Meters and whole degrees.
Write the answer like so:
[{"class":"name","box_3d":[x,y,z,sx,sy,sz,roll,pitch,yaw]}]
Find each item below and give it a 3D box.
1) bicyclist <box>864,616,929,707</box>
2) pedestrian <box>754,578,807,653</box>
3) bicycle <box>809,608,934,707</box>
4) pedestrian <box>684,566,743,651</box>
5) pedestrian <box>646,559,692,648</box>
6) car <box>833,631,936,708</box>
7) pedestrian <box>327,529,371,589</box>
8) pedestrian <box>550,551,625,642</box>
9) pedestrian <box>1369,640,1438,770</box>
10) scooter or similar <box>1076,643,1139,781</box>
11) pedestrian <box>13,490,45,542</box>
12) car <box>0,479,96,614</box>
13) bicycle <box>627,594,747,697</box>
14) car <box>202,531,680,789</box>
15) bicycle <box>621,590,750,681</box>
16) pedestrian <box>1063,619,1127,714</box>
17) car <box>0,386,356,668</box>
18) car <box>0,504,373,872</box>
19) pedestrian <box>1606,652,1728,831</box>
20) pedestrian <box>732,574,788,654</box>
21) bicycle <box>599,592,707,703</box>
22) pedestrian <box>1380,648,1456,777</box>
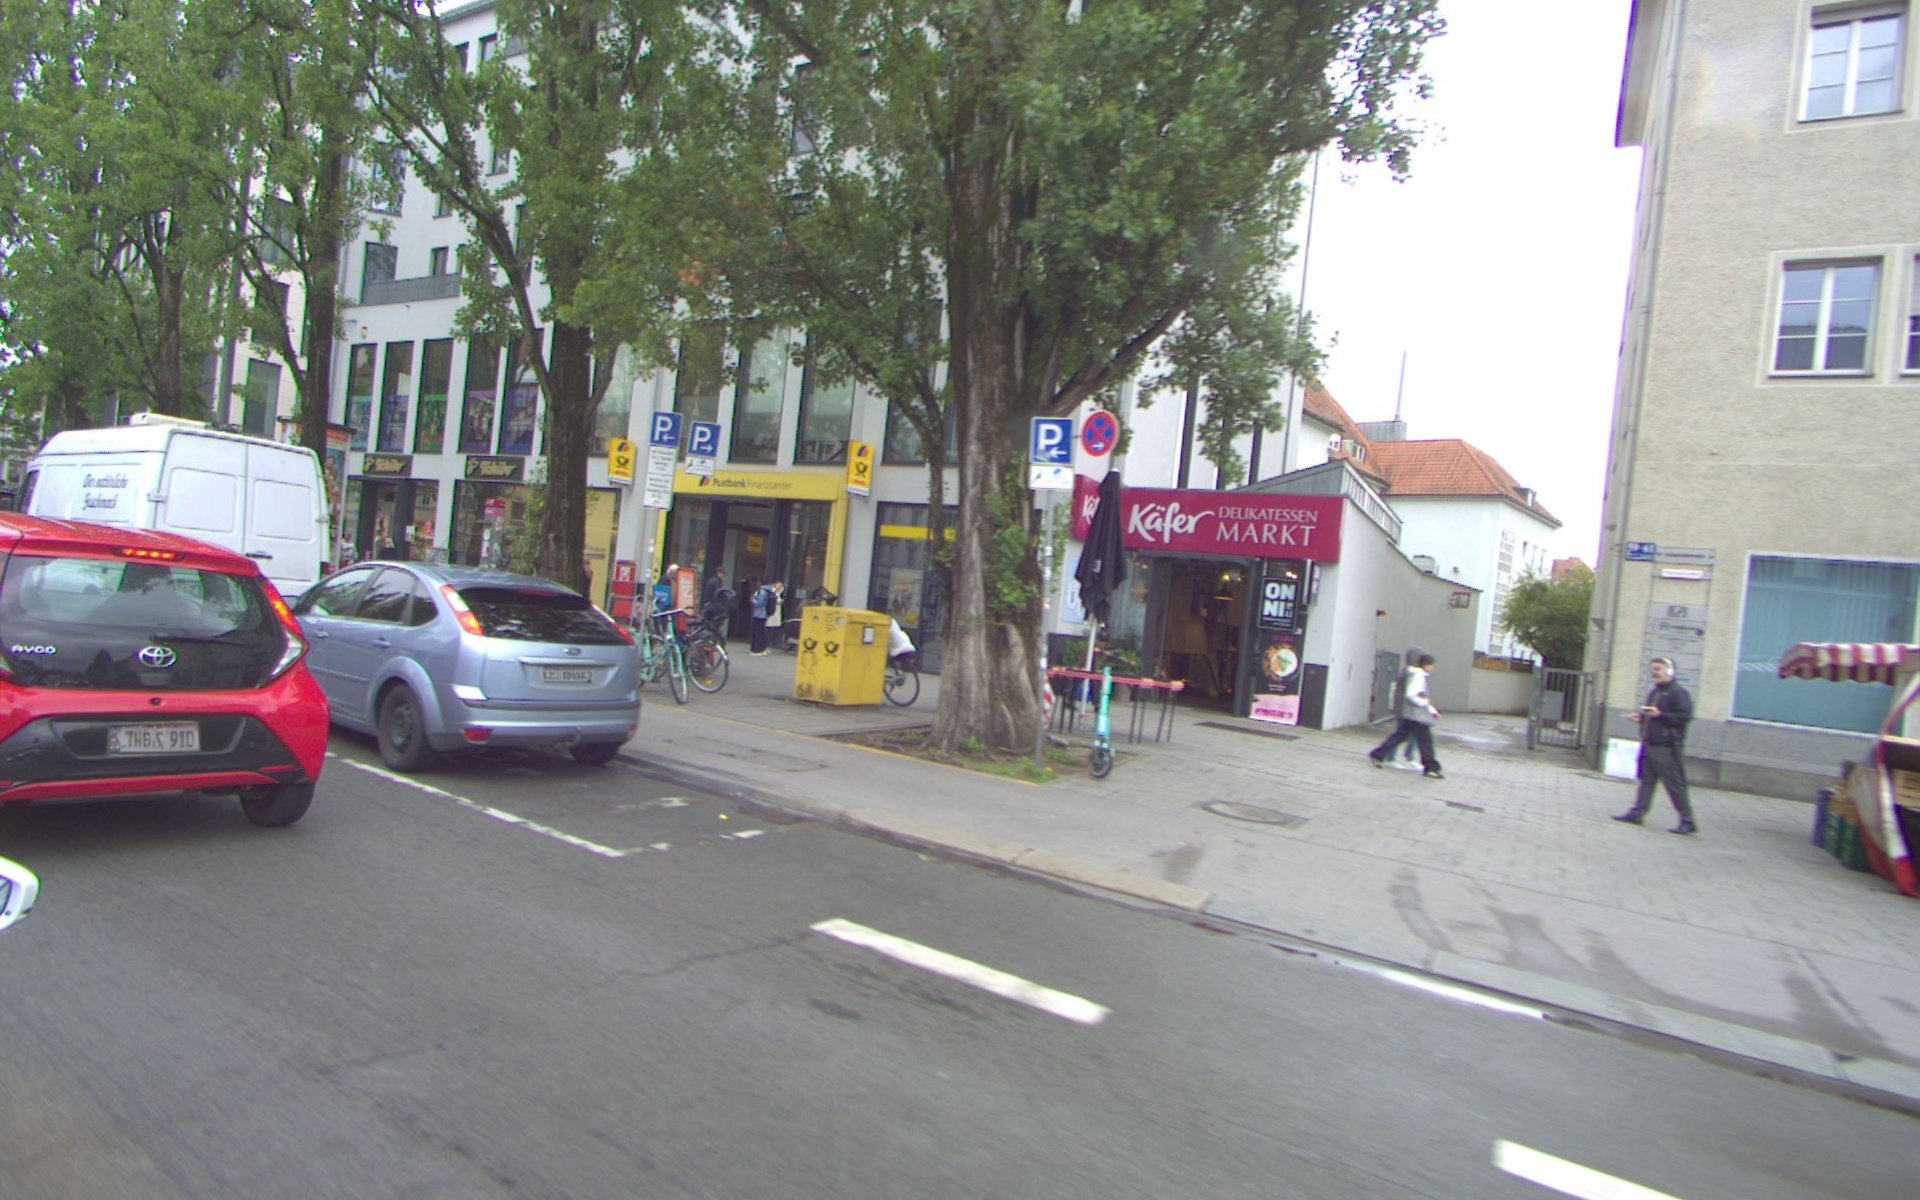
[{"class":"bicyclist","box_3d":[-0.911,0.880,14.393,0.631,1.211,0.538,7,2,31]},{"class":"pedestrian","box_3d":[-3.965,0.345,22.247,0.762,1.555,0.700,4,2,-43]},{"class":"bicycle","box_3d":[-1.305,0.821,14.640,1.744,1.210,0.527,6,1,31]},{"class":"pedestrian","box_3d":[-5.135,0.184,20.974,0.785,1.670,0.691,7,1,31]},{"class":"pedestrian","box_3d":[-5.987,0.063,20.690,0.711,1.747,0.736,5,1,-21]},{"class":"car","box_3d":[-1.108,0.992,14.576,1.471,0.916,0.367,6,1,32]},{"class":"pedestrian","box_3d":[-16.962,-1.134,27.926,0.738,1.578,0.682,7,2,33]},{"class":"pedestrian","box_3d":[-7.363,-0.062,19.883,1.006,1.657,0.800,7,1,32]},{"class":"pedestrian","box_3d":[6.228,1.457,14.130,0.588,1.723,0.578,7,2,39]},{"class":"scooter or similar","box_3d":[1.516,1.085,10.194,0.393,1.223,1.469,6,1,13]},{"class":"pedestrian","box_3d":[-31.435,-2.830,33.973,0.782,1.640,0.609,7,2,39]},{"class":"car","box_3d":[-15.490,-0.987,15.655,4.705,1.826,1.930,6,-1,36]},{"class":"bicycle","box_3d":[-3.679,0.595,13.509,1.606,1.174,0.478,7,0,32]},{"class":"car","box_3d":[-4.416,0.399,8.347,4.082,1.470,1.727,6,-2,35]},{"class":"bicycle","box_3d":[-4.042,0.541,14.901,0.696,1.174,1.624,7,0,44]},{"class":"pedestrian","box_3d":[2.263,1.107,16.943,0.640,1.494,0.756,7,-1,-20]},{"class":"car","box_3d":[-10.016,-0.893,12.394,5.465,2.774,1.996,6,-1,33]},{"class":"car","box_3d":[-5.013,0.265,5.398,3.537,1.463,1.668,6,-2,32]},{"class":"pedestrian","box_3d":[7.577,1.501,10.795,0.709,1.793,0.607,5,1,-18]},{"class":"pedestrian","box_3d":[-4.239,0.304,21.352,0.760,1.605,0.691,7,1,31]},{"class":"bicycle","box_3d":[-3.879,0.564,12.625,0.476,1.174,1.803,6,0,-42]},{"class":"pedestrian","box_3d":[6.105,1.481,13.418,0.625,1.604,0.641,7,2,39]}]
